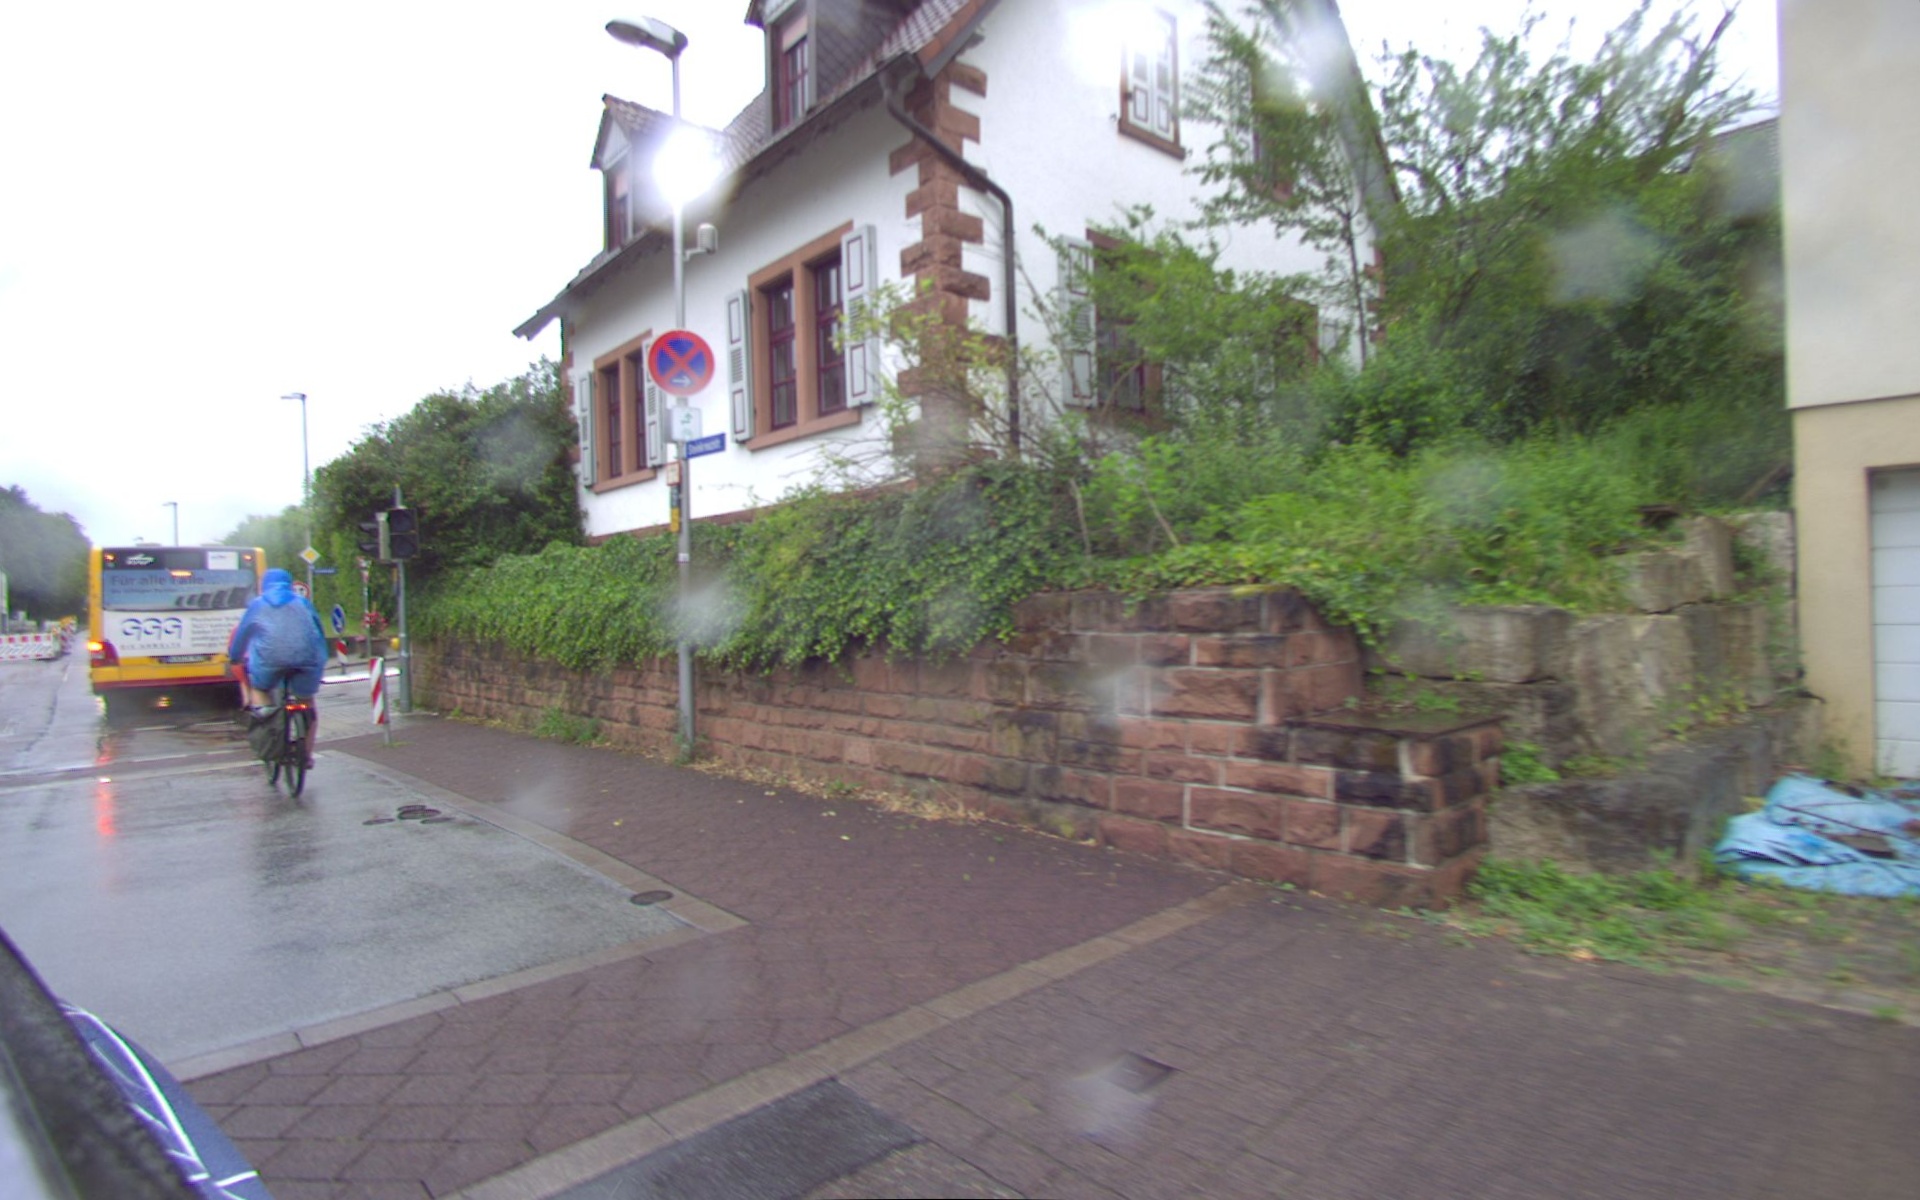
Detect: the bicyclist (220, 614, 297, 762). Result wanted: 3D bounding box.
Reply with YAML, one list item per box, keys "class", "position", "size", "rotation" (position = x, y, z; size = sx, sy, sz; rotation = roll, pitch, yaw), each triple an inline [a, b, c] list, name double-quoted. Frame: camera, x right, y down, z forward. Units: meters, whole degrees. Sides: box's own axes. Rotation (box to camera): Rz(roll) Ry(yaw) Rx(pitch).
- class: "bicyclist"
  position: [-8.913, 1.095, 12.852]
  size: [0.649, 1.783, 0.704]
  rotation: [-3, -1, -42]

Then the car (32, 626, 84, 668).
- class: "car"
  position: [-43.866, 2.262, 49.261]
  size: [1.754, 1.811, 4.194]
  rotation: [-3, 1, -41]

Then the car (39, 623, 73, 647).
- class: "car"
  position: [-68.988, 2.627, 77.265]
  size: [1.754, 1.622, 4.194]
  rotation: [-6, 3, -41]

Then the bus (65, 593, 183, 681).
- class: "bus"
  position: [-38.228, 1.576, 46.766]
  size: [3.387, 3.437, 13.902]
  rotation: [-2, 0, -36]

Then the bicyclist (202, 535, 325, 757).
- class: "bicyclist"
  position: [-5.754, 0.360, 8.355]
  size: [0.679, 1.726, 0.704]
  rotation: [-3, -1, -42]

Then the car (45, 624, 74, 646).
- class: "car"
  position: [-74.844, 2.885, 84.149]
  size: [1.754, 1.623, 4.194]
  rotation: [-3, 1, -41]

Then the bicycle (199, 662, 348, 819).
- class: "bicycle"
  position: [-5.783, 1.089, 8.451]
  size: [0.672, 1.058, 2.342]
  rotation: [-4, 0, -42]

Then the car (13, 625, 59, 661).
- class: "car"
  position: [-52.450, 2.424, 57.504]
  size: [1.754, 1.811, 4.194]
  rotation: [-3, 1, -41]

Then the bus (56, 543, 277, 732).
- class: "bus"
  position: [-16.709, 0.669, 21.471]
  size: [2.770, 2.961, 11.965]
  rotation: [-3, 1, -38]

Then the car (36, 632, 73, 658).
- class: "car"
  position: [-61.907, 3.061, 69.165]
  size: [1.755, 1.623, 4.192]
  rotation: [-3, 1, -43]

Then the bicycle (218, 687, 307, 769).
- class: "bicycle"
  position: [-8.830, 1.572, 12.773]
  size: [0.653, 0.877, 1.937]
  rotation: [-3, -1, -42]
